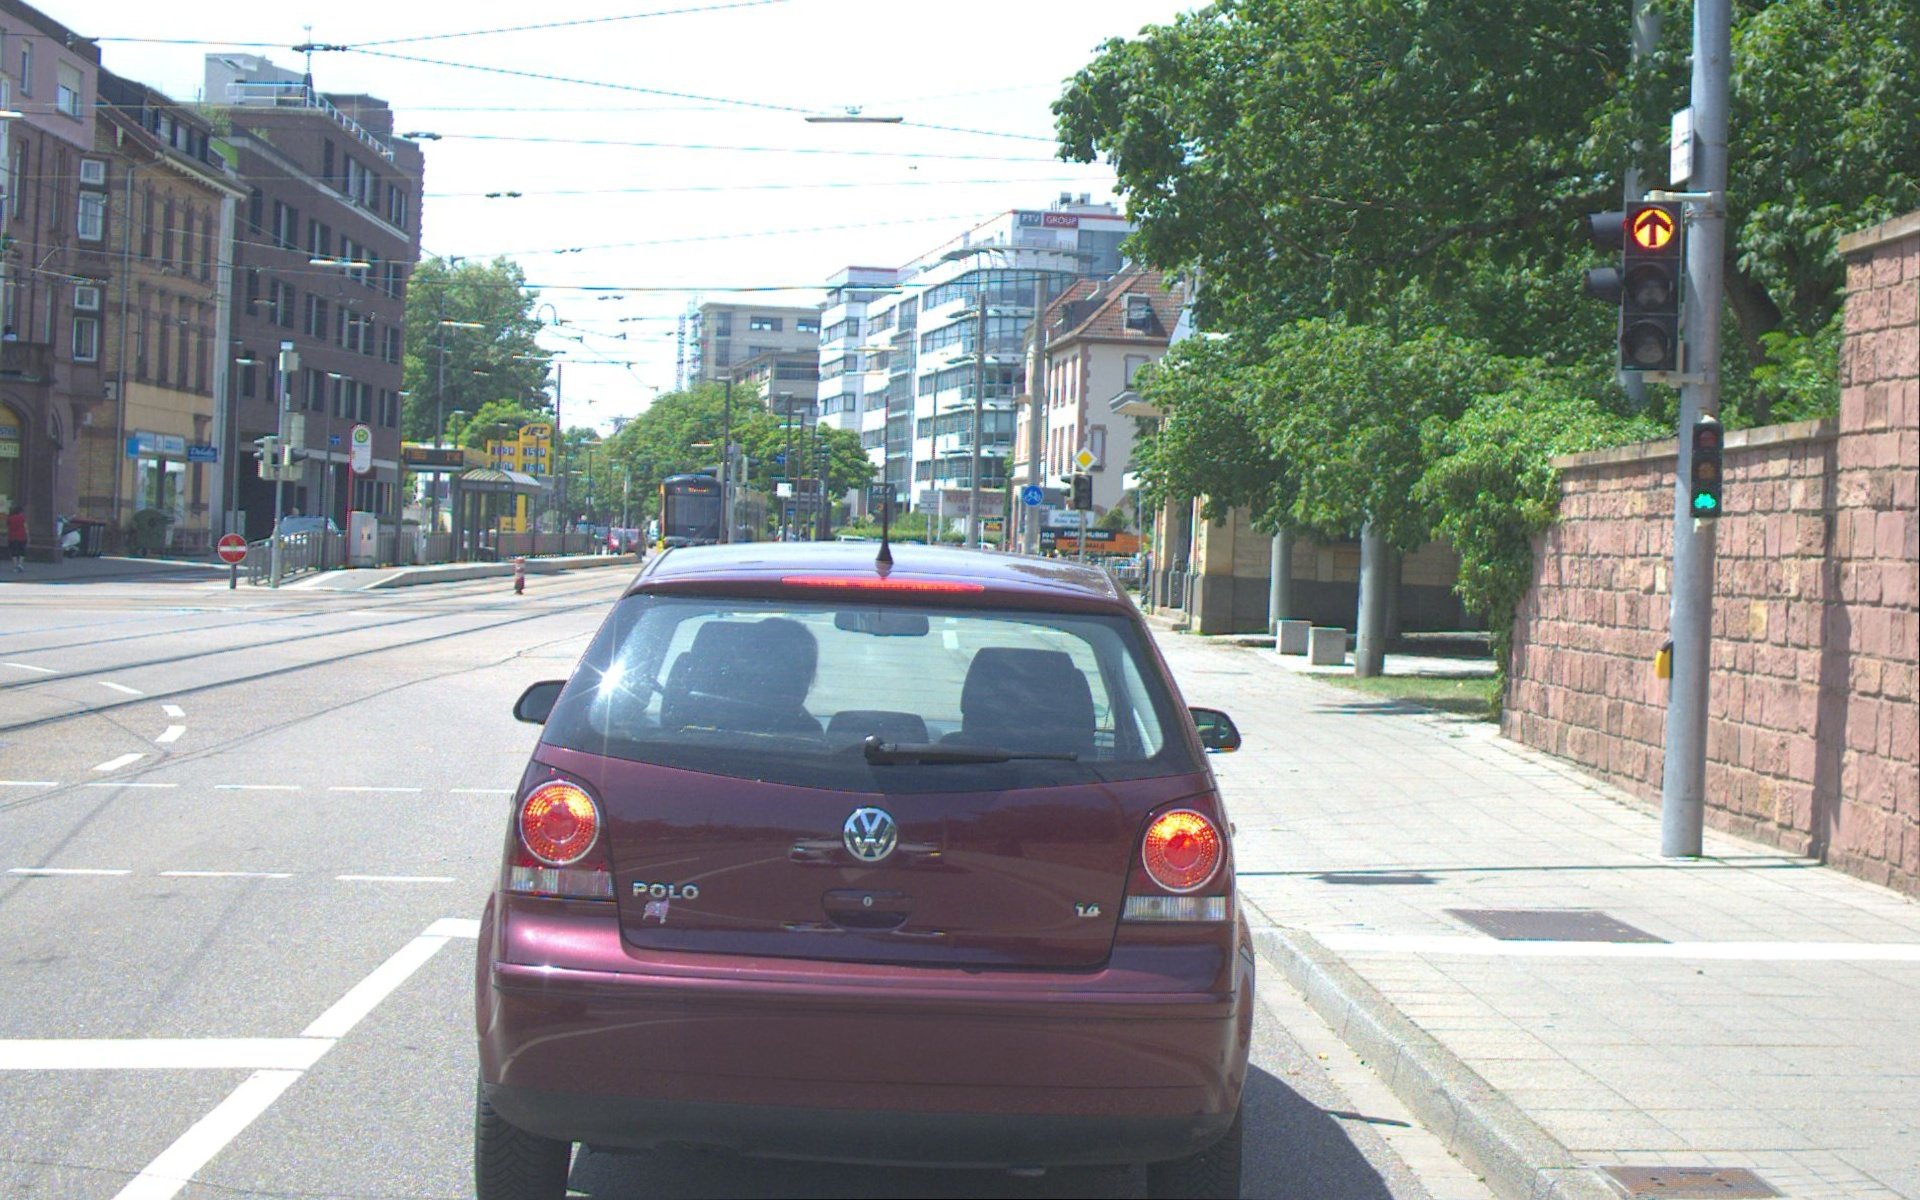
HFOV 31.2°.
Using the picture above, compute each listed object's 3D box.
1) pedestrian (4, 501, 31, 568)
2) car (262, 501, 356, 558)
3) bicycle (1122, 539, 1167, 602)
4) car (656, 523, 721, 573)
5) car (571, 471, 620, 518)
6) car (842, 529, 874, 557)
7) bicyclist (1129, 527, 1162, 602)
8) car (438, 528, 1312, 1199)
[{"bbox_3d":[-21.882,-1.509,79.794,0.483,1.535,0.538,1,0,-4],"label":"pedestrian"},{"bbox_3d":[-17.625,-1.902,93.182,1.689,1.457,4.000,2,1,1],"label":"car"},{"bbox_3d":[4.548,-0.728,85.073,0.835,1.520,4.000,1,0,-1],"label":"bicycle"},{"bbox_3d":[-9.251,-1.759,117.296,1.938,1.635,4.000,1,0,-1],"label":"car"},{"bbox_3d":[-16.396,-4.752,154.717,1.735,2.007,4.000,2,1,-1],"label":"car"},{"bbox_3d":[-5.114,-2.873,172.611,1.572,1.411,3.720,0,1,-1],"label":"car"},{"bbox_3d":[4.518,-0.865,83.943,0.721,1.812,0.888,1,0,-1],"label":"bicyclist"},{"bbox_3d":[-0.220,0.585,8.574,1.610,1.458,4.086,2,1,-2],"label":"car"}]
